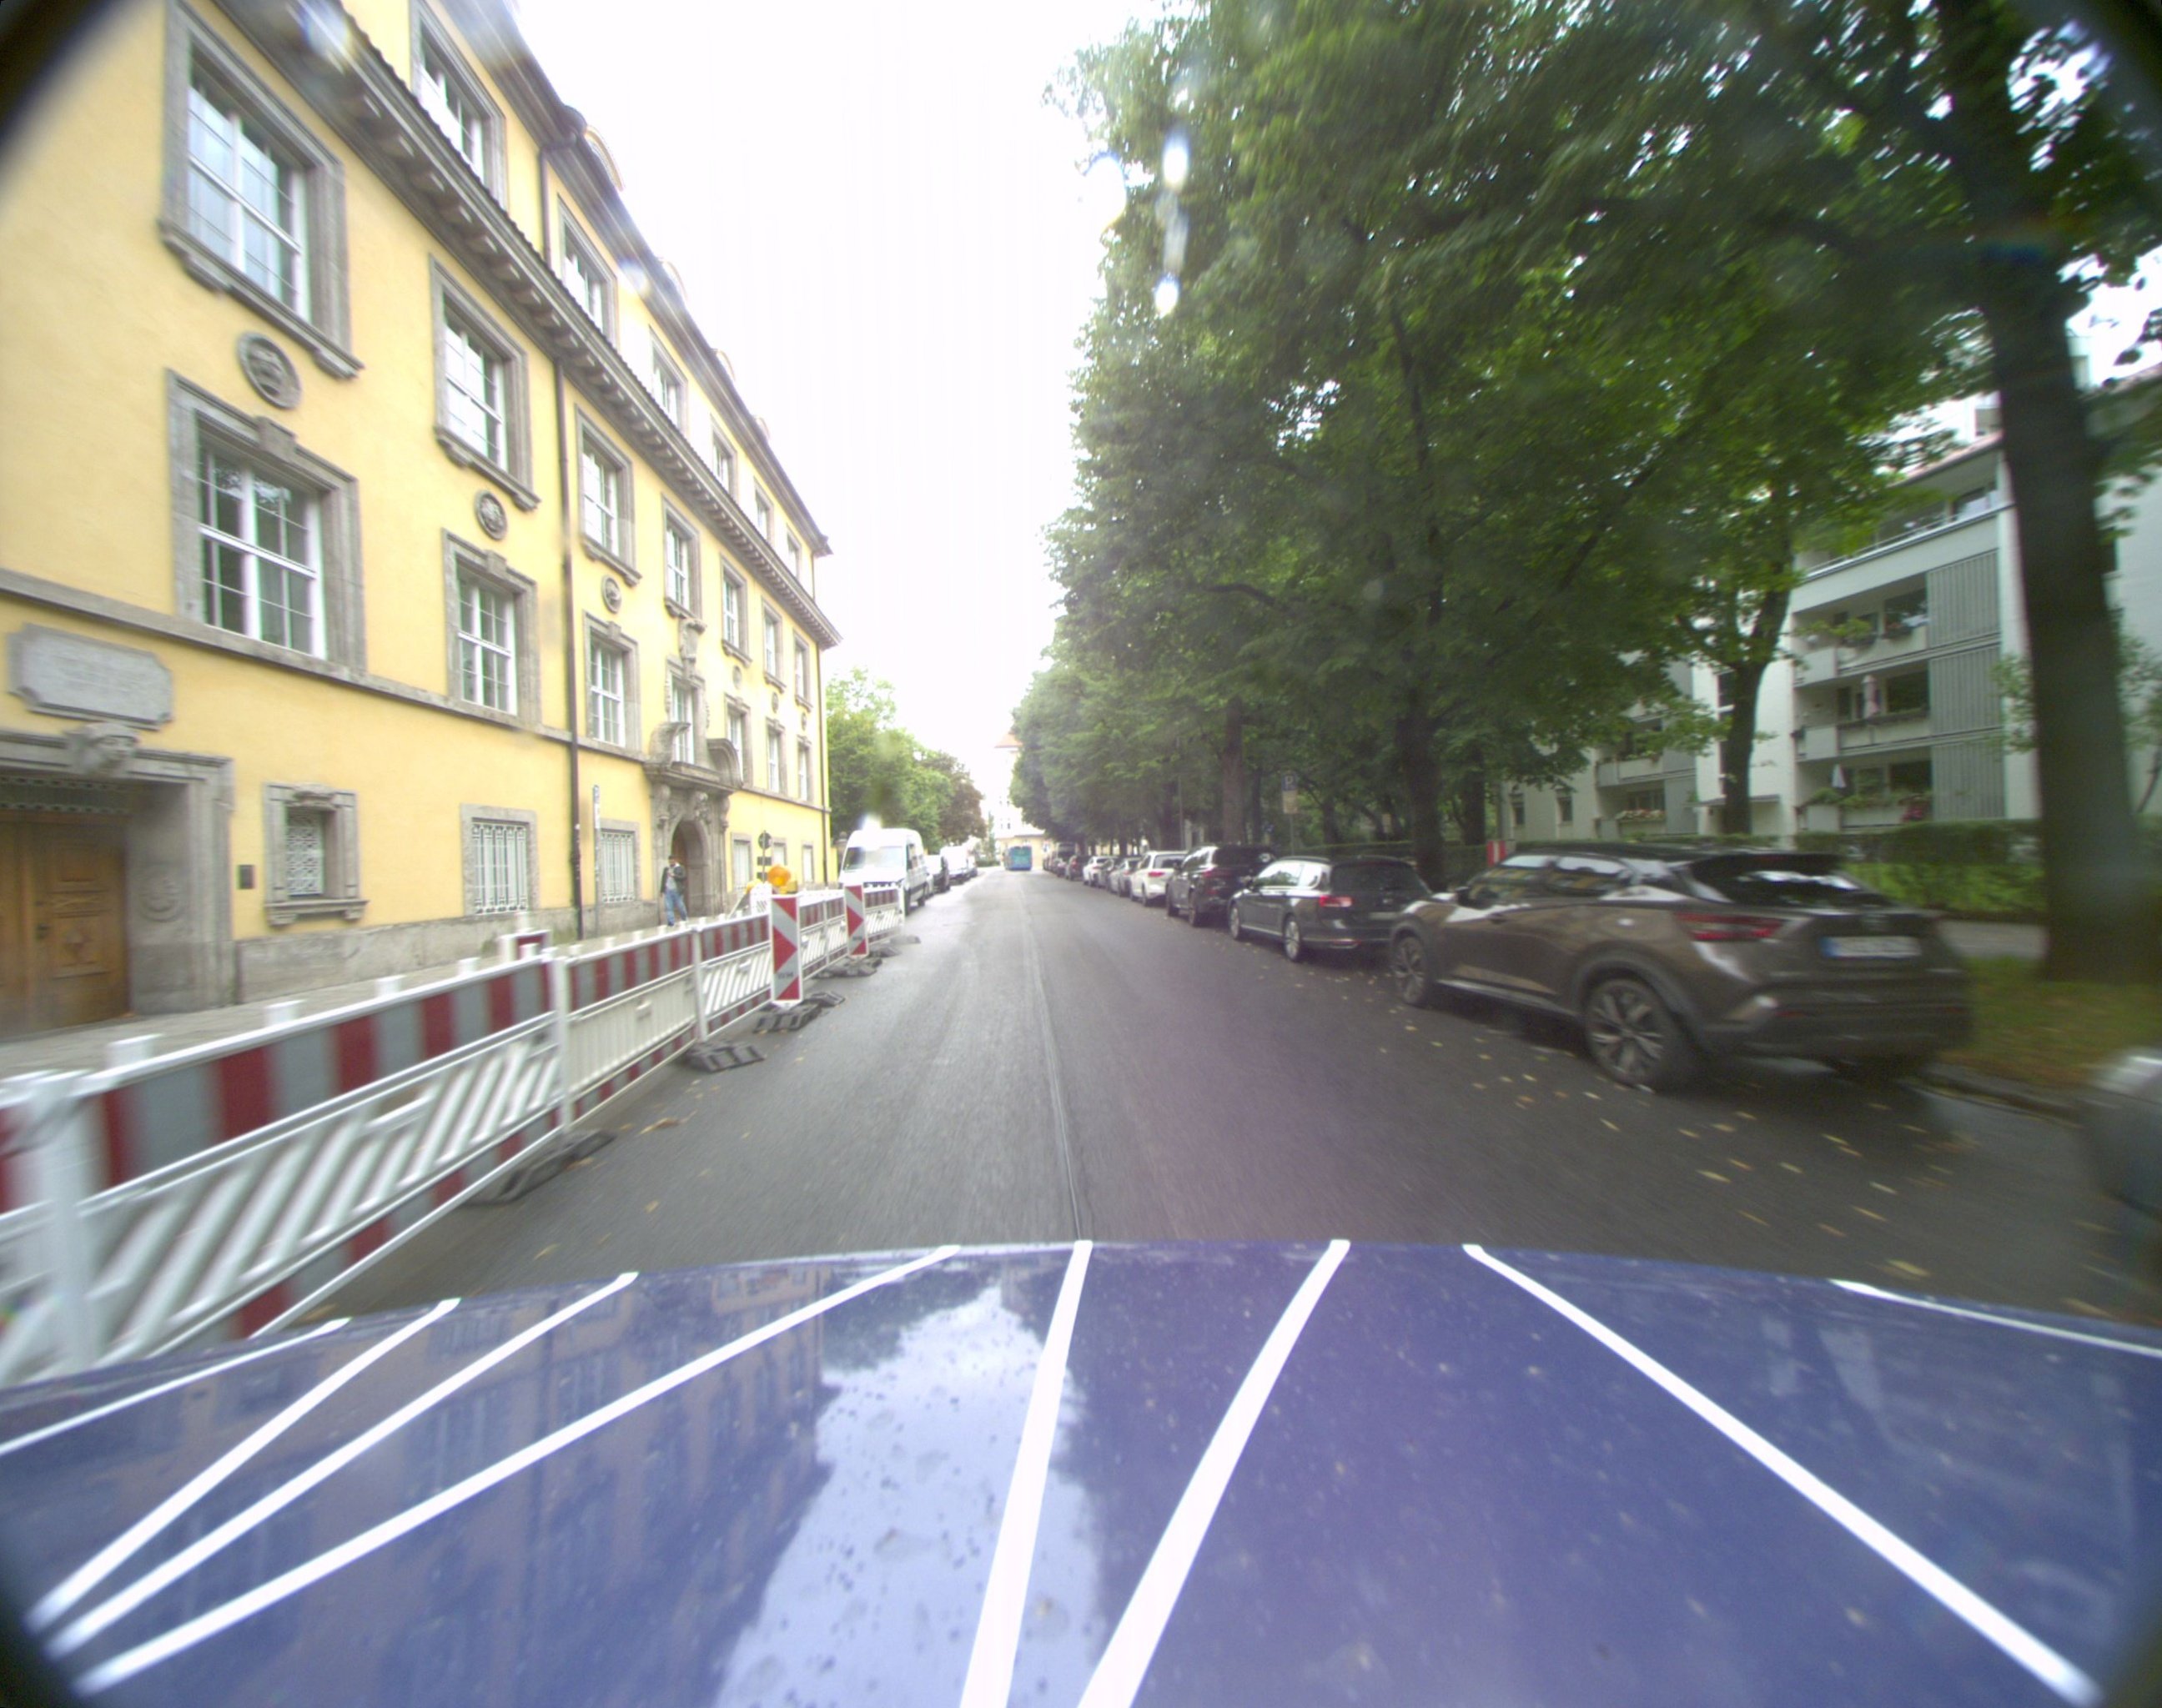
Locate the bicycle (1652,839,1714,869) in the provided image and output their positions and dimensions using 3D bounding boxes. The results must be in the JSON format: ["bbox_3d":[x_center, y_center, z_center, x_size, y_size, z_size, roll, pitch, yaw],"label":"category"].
[{"bbox_3d":[23.070,0.011,29.164,0.642,1.101,1.901,-3,0,-9],"label":"bicycle"}]

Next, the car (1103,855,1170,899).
[{"bbox_3d":[2.063,0.843,29.702,1.815,1.461,4.994,-2,1,-5],"label":"car"}]

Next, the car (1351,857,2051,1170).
[{"bbox_3d":[4.069,0.824,6.192,1.791,1.565,4.484,-1,0,-5],"label":"car"}]

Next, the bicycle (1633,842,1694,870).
[{"bbox_3d":[22.378,0.082,29.241,0.642,1.031,1.901,-3,0,-9],"label":"bicycle"}]

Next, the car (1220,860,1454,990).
[{"bbox_3d":[3.566,0.883,11.630,1.723,1.442,4.693,-2,1,-4],"label":"car"}]

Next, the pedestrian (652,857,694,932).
[{"bbox_3d":[-10.031,0.986,18.686,0.702,1.794,0.582,0,2,-5],"label":"pedestrian"}]

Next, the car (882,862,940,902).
[{"bbox_3d":[-7.167,1.140,32.412,1.876,1.449,4.252,-2,1,-6],"label":"car"}]

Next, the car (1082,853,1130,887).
[{"bbox_3d":[1.226,0.784,39.681,1.789,1.588,4.581,-2,1,-6],"label":"car"}]

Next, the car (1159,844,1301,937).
[{"bbox_3d":[3.163,0.694,17.273,1.999,1.786,4.918,-1,0,-4],"label":"car"}]

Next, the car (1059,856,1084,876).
[{"bbox_3d":[-0.744,0.927,58.154,1.795,1.429,4.550,-2,0,-2],"label":"car"}]

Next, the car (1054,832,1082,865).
[{"bbox_3d":[-1.280,-0.534,70.972,1.951,2.838,6.231,-2,1,-7],"label":"car"}]

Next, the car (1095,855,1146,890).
[{"bbox_3d":[1.746,0.799,35.022,1.677,1.461,4.101,-2,1,-6],"label":"car"}]

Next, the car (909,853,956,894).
[{"bbox_3d":[-7.456,0.935,38.478,1.876,1.858,4.983,-2,1,-6],"label":"car"}]

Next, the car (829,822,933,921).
[{"bbox_3d":[-6.218,0.451,24.610,2.061,2.657,7.609,-2,1,-6],"label":"car"}]

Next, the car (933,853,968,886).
[{"bbox_3d":[-8.506,0.957,49.848,2.020,1.895,5.160,-3,1,-8],"label":"car"}]

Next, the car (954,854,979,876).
[{"bbox_3d":[-10.130,0.930,67.484,1.864,1.731,4.600,-3,1,-5],"label":"car"}]

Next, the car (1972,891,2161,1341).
[{"bbox_3d":[4.511,0.848,0.903,1.732,1.414,4.249,-2,0,-5],"label":"car"}]

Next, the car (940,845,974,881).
[{"bbox_3d":[-9.249,0.592,57.015,2.101,2.473,5.735,-2,1,-6],"label":"car"}]

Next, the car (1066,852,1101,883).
[{"bbox_3d":[0.112,0.827,49.378,1.789,1.866,4.545,0,0,-6],"label":"car"}]

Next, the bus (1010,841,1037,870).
[{"bbox_3d":[-7.589,0.035,98.272,2.868,3.221,18.412,-2,1,-6],"label":"bus"}]

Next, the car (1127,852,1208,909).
[{"bbox_3d":[2.599,0.748,23.846,1.770,1.612,4.521,0,1,-3],"label":"car"}]

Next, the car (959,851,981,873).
[{"bbox_3d":[-10.673,0.752,73.534,1.864,1.956,5.441,-2,1,-6],"label":"car"}]
